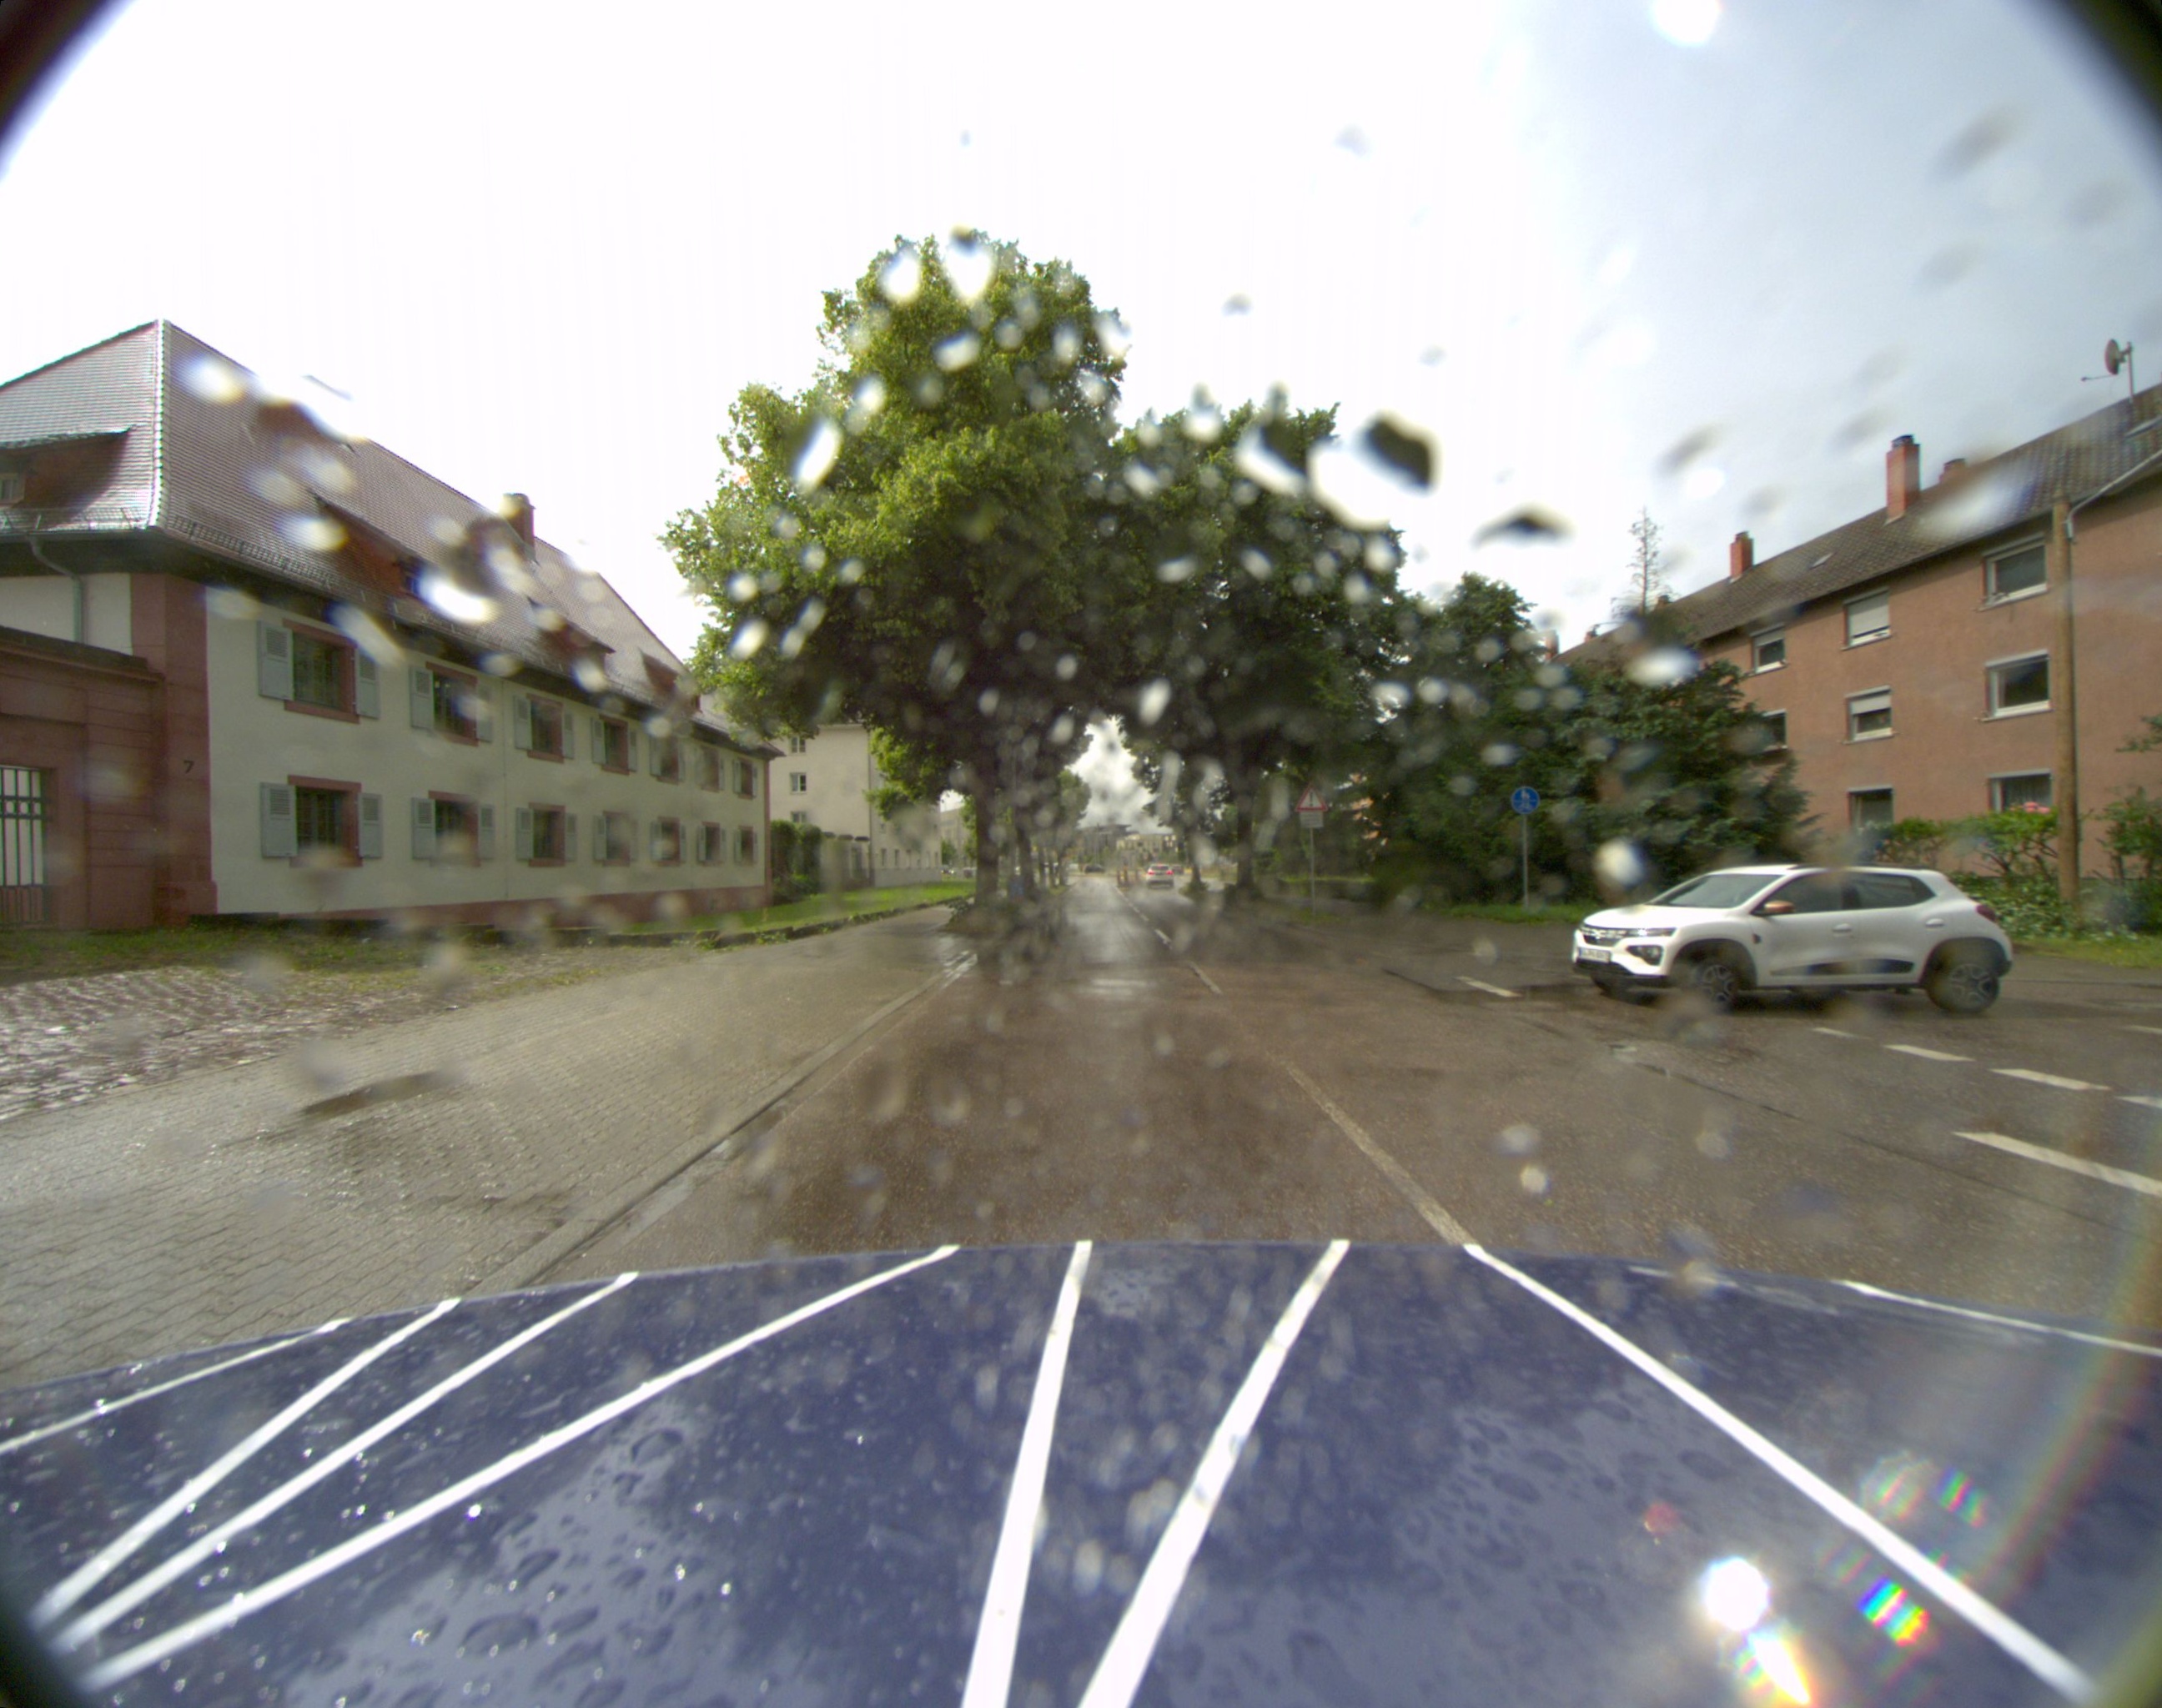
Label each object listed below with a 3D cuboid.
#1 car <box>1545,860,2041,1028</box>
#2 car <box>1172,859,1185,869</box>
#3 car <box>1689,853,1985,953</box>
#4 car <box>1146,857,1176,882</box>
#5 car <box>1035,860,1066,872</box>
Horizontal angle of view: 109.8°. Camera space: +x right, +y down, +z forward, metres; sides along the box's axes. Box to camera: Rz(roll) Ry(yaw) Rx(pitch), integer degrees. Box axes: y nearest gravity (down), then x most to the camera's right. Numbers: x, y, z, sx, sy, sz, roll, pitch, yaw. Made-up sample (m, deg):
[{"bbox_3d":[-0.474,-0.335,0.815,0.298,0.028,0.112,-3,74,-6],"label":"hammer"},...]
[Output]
[{"bbox_3d":[7.337,0.877,8.153,3.613,1.525,1.738,-2,0,2],"label":"car"},{"bbox_3d":[14.463,1.477,112.798,1.683,1.499,3.795,-1,-1,4],"label":"car"},{"bbox_3d":[13.372,0.770,13.823,1.628,1.412,3.870,-2,1,2],"label":"car"},{"bbox_3d":[5.741,1.084,54.988,1.891,1.703,4.230,0,0,2],"label":"car"},{"bbox_3d":[-4.420,1.784,109.820,4.218,1.703,1.896,-1,0,30],"label":"car"}]
